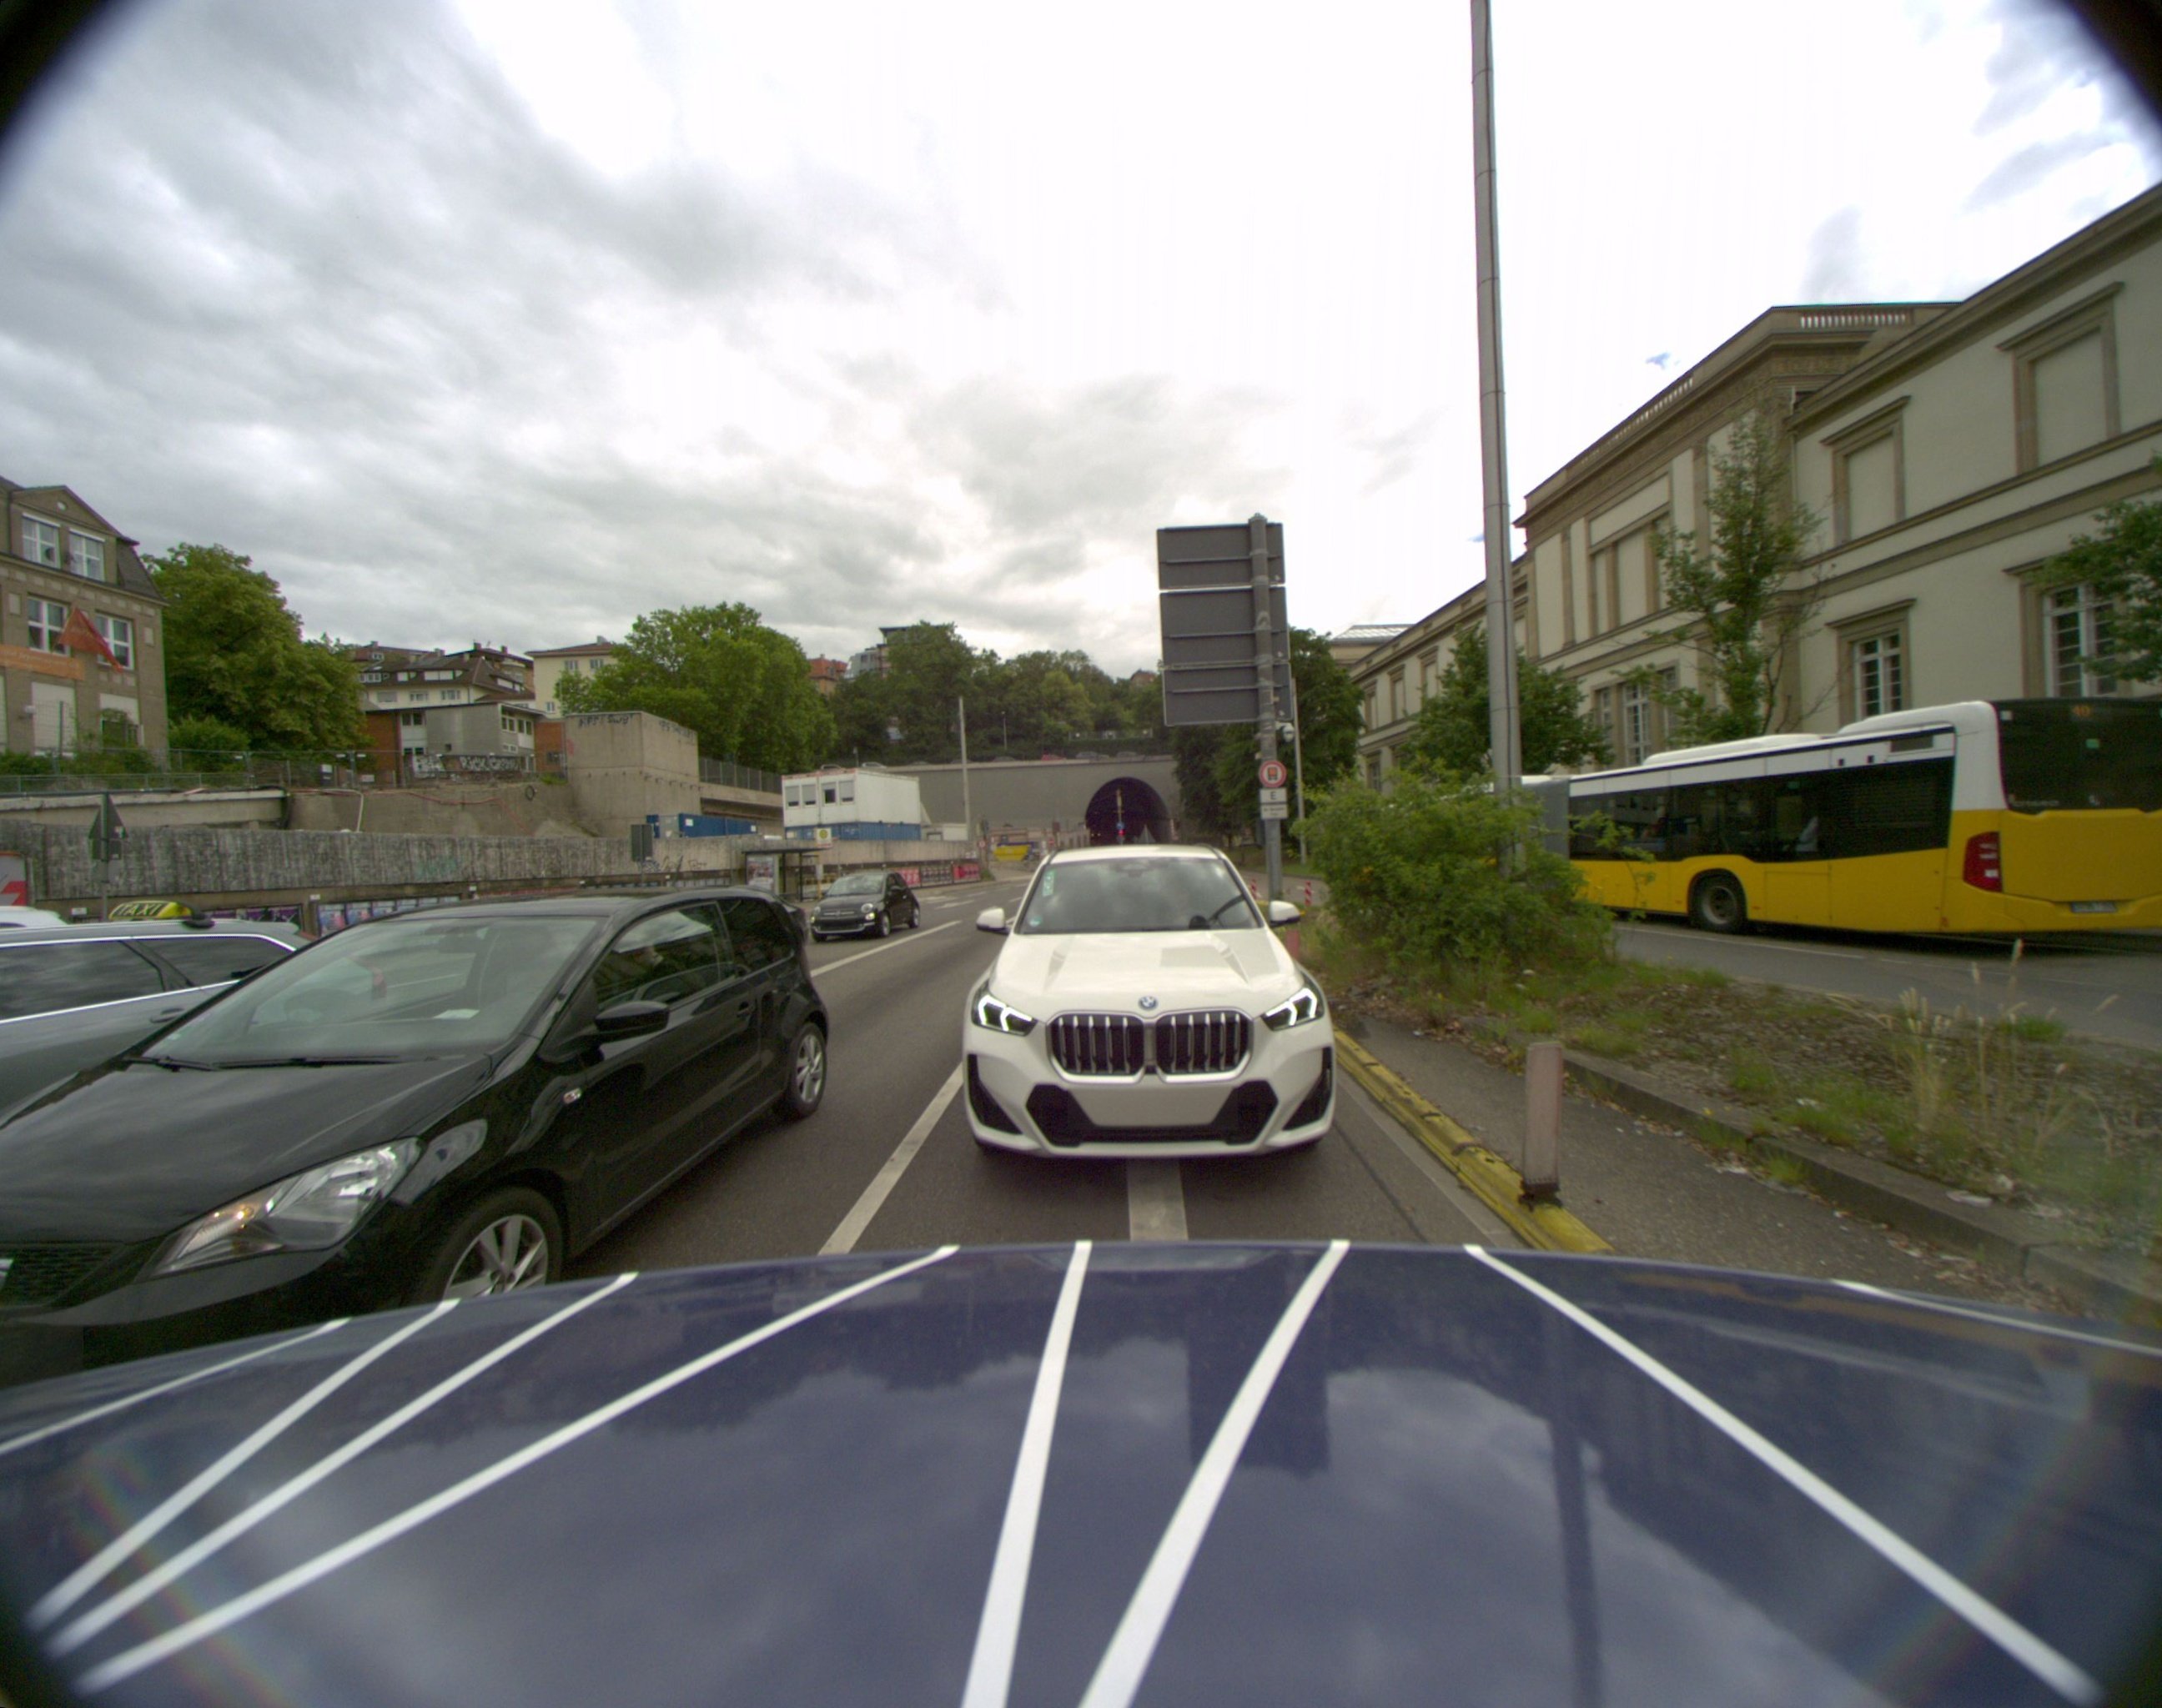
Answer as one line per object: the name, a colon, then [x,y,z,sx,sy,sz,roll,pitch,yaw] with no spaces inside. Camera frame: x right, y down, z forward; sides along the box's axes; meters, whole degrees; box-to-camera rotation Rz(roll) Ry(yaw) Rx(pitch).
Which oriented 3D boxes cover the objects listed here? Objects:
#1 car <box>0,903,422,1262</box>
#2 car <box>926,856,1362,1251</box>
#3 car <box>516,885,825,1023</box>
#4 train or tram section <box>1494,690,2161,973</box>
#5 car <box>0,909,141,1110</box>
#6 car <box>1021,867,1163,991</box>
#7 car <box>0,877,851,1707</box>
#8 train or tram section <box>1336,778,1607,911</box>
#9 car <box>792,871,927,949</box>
car: [-5.820,1.147,3.450,1.826,1.457,4.217,-2,1,2]
car: [0.343,0.852,5.118,1.756,1.547,3.911,-2,1,3]
car: [-5.395,1.230,10.756,1.826,1.356,4.219,-2,0,4]
train or tram section: [11.079,-0.254,12.962,2.701,3.053,9.334,-1,0,-2]
car: [-9.146,1.262,4.575,1.826,1.457,4.073,-2,1,0]
car: [0.226,0.994,11.593,1.756,1.427,3.911,-2,0,3]
car: [-2.525,0.982,3.270,1.661,1.547,3.911,-2,1,3]
train or tram section: [10.649,-0.221,22.312,2.701,3.053,9.373,-1,0,-3]
car: [-4.986,1.213,17.648,1.720,1.450,3.782,-3,0,4]
